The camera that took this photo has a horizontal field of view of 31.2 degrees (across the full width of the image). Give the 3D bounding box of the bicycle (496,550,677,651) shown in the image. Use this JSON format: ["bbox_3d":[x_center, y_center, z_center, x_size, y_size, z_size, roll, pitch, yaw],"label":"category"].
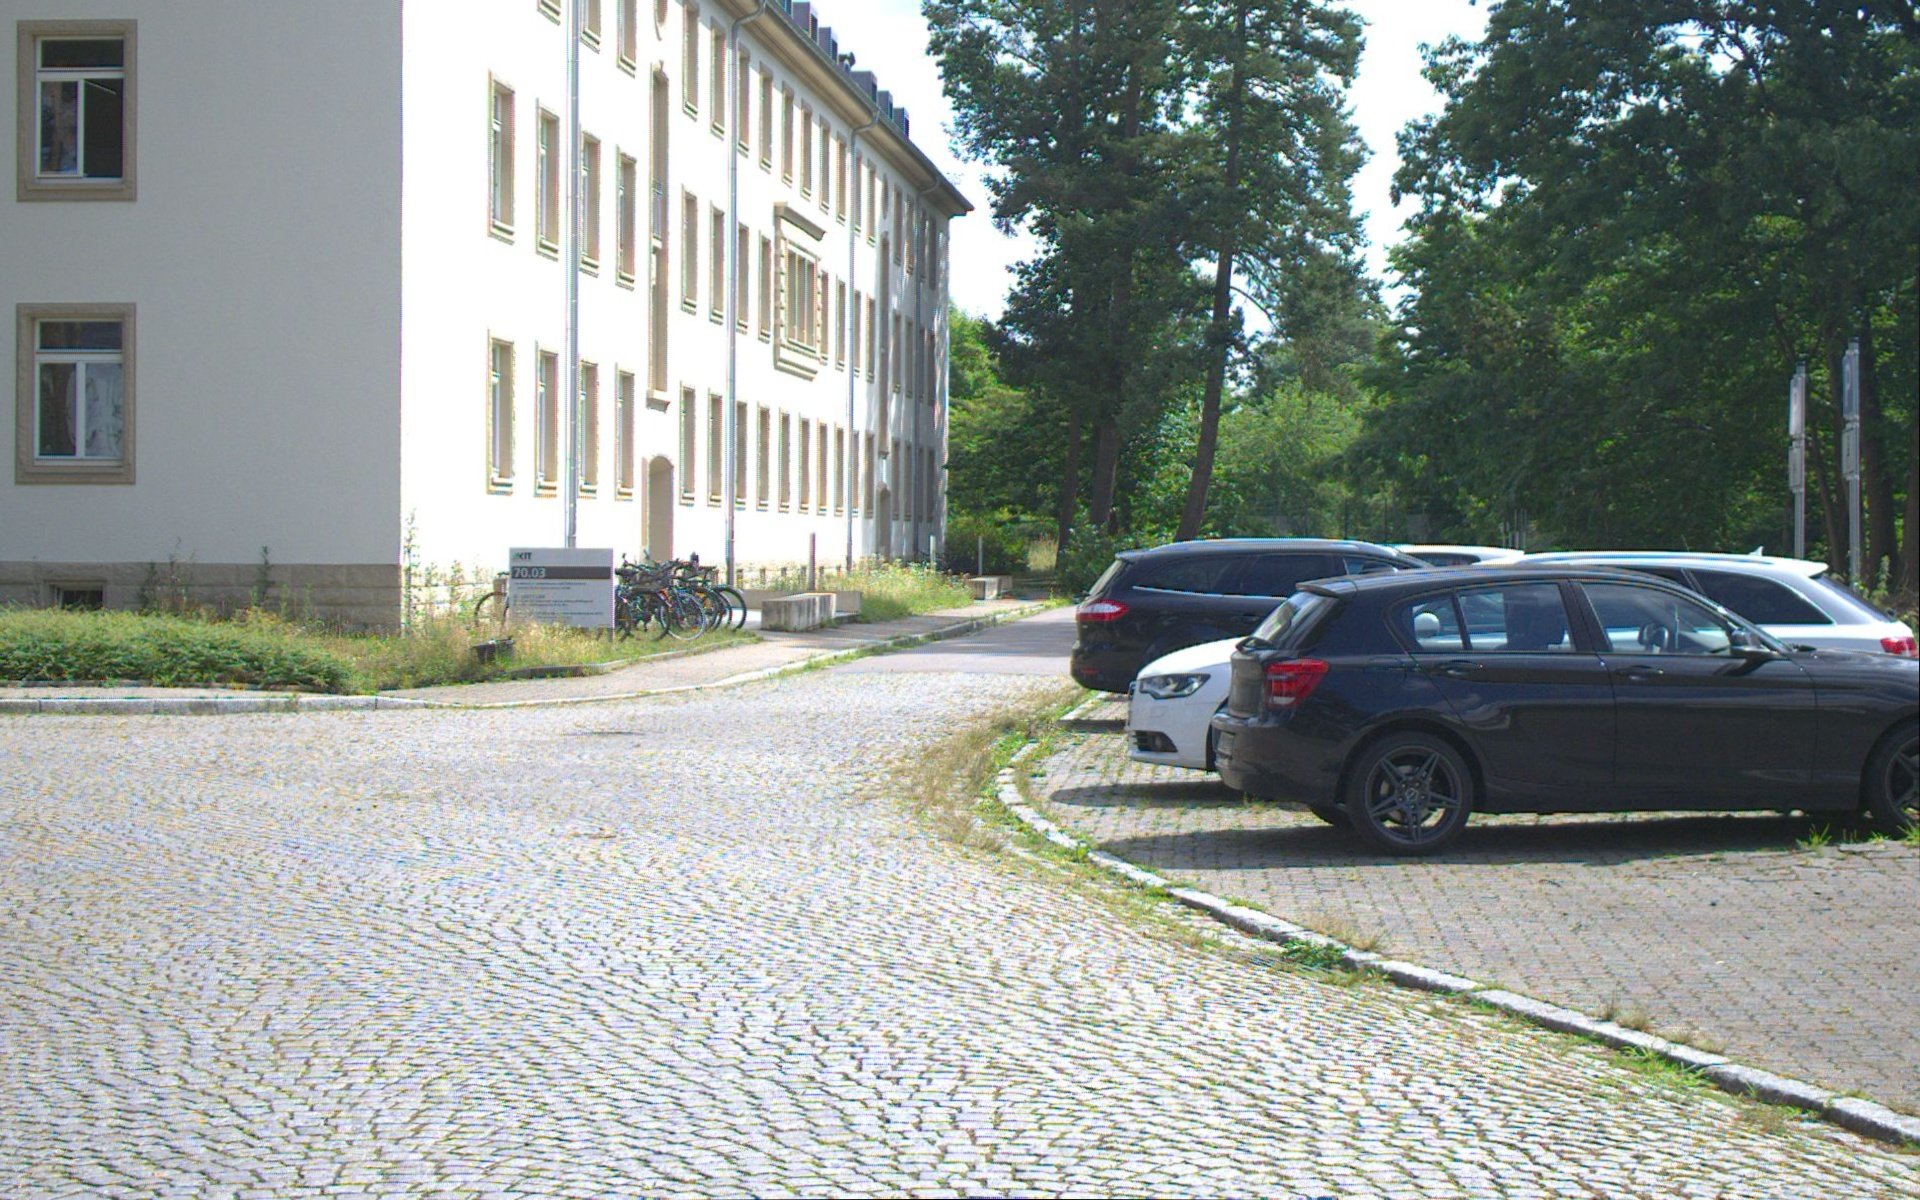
[{"bbox_3d":[-4.771,-0.001,43.931,2.223,1.256,0.623,0,1,12],"label":"bicycle"}]

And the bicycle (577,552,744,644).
[{"bbox_3d":[-4.133,-0.032,47.476,2.223,1.256,0.623,0,1,8],"label":"bicycle"}]

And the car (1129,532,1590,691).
[{"bbox_3d":[3.895,0.108,33.984,4.399,1.479,1.765,-1,0,4],"label":"car"}]

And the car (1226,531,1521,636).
[{"bbox_3d":[6.153,-0.250,51.254,4.267,1.479,1.819,-1,0,7],"label":"car"}]

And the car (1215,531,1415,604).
[{"bbox_3d":[7.609,-0.695,73.638,4.188,1.479,1.819,-1,0,7],"label":"car"}]

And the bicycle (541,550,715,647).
[{"bbox_3d":[-4.406,-0.029,45.644,2.223,1.256,0.623,0,1,12],"label":"bicycle"}]

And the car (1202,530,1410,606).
[{"bbox_3d":[7.136,-0.651,70.761,4.188,1.479,1.819,-1,0,7],"label":"car"}]

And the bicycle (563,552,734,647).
[{"bbox_3d":[-4.206,-0.015,46.470,2.223,1.256,0.623,0,1,8],"label":"bicycle"}]

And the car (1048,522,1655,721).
[{"bbox_3d":[3.209,0.173,28.681,4.853,1.547,1.879,-1,0,4],"label":"car"}]

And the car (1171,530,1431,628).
[{"bbox_3d":[5.639,-0.338,56.730,4.188,1.538,1.819,-1,0,7],"label":"car"}]

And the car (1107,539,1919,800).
[{"bbox_3d":[3.380,0.402,21.314,4.862,1.467,1.874,-1,2,4],"label":"car"}]

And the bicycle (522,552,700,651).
[{"bbox_3d":[-4.536,0.013,44.701,2.223,1.256,0.623,0,1,8],"label":"bicycle"}]

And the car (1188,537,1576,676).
[{"bbox_3d":[4.731,0.067,38.664,4.208,1.479,1.819,-1,0,7],"label":"car"}]

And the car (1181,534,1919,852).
[{"bbox_3d":[3.427,0.445,18.134,4.324,1.495,1.830,-1,2,-2],"label":"car"}]
